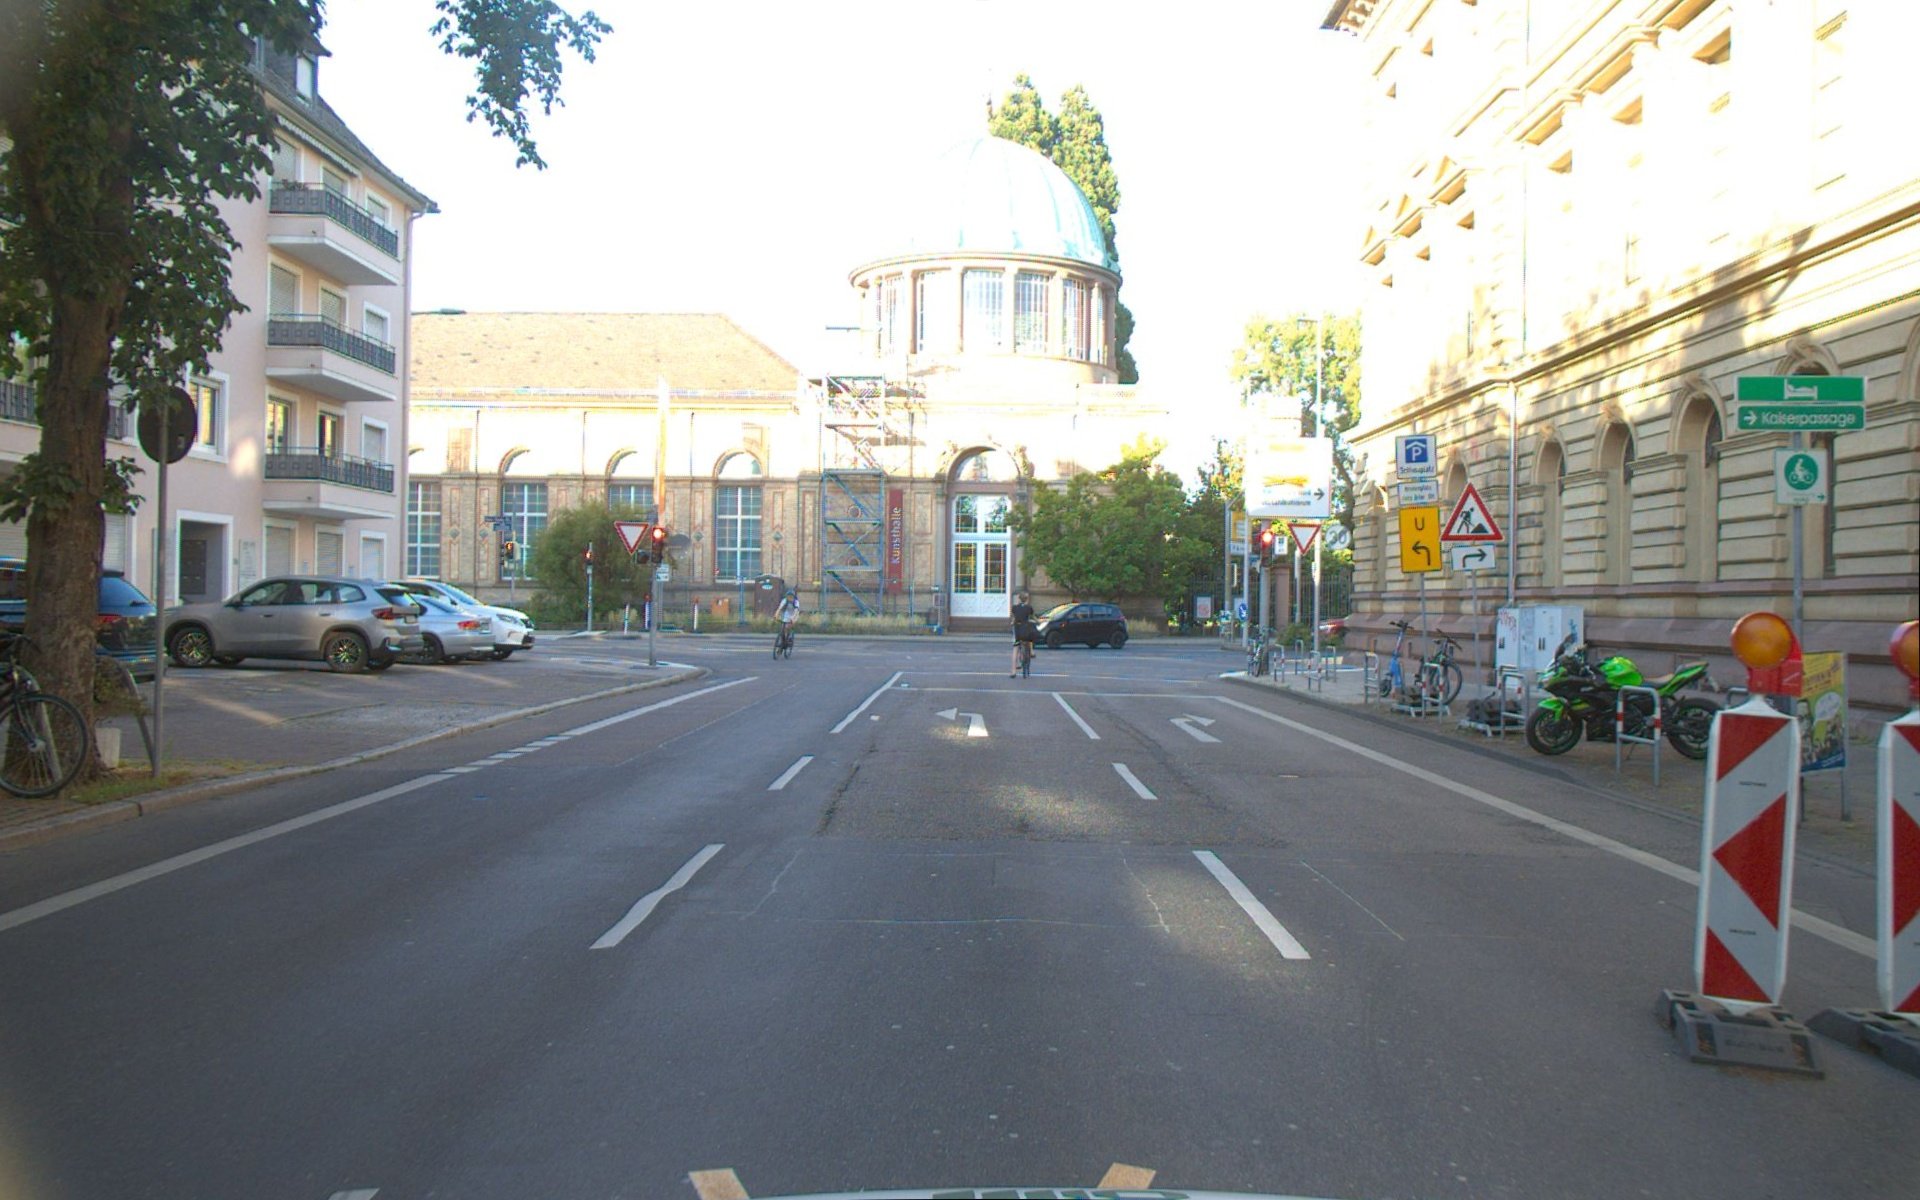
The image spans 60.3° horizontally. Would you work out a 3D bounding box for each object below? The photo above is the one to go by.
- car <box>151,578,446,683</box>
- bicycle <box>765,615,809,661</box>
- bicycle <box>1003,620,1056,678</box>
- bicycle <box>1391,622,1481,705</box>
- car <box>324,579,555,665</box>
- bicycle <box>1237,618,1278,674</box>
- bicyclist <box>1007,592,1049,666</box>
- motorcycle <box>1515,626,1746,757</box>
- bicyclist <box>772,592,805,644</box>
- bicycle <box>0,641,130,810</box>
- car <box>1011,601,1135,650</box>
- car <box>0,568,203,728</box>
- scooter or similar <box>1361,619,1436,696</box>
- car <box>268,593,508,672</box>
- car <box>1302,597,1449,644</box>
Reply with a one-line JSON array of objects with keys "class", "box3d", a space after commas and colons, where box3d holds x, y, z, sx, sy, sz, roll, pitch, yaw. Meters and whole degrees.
[{"class": "car", "box3d": [-11.500, 0.516, 28.979, 4.328, 1.633, 1.916, 2, 0, -1]}, {"class": "bicycle", "box3d": [-4.574, 1.013, 43.841, 0.611, 1.176, 2.054, 0, -2, 9]}, {"class": "bicycle", "box3d": [1.471, 1.017, 34.744, 0.696, 1.176, 2.070, 0, -2, 15]}, {"class": "bicycle", "box3d": [7.277, 0.950, 25.384, 0.810, 1.154, 1.944, -3, 0, 1]}, {"class": "car", "box3d": [-11.258, 0.469, 35.968, 4.350, 1.669, 1.942, 2, 0, -1]}, {"class": "bicycle", "box3d": [6.513, 1.005, 36.268, 0.570, 1.209, 1.920, 0, -2, 1]}, {"class": "bicyclist", "box3d": [1.433, 0.603, 34.625, 0.701, 1.529, 0.851, 0, -2, 15]}, {"class": "motorcycle", "box3d": [6.767, 0.916, 16.737, 2.058, 1.236, 0.709, -2, 0, 30]}, {"class": "bicyclist", "box3d": [-4.553, 0.484, 43.941, 0.611, 1.388, 0.930, 0, -2, 10]}, {"class": "bicycle", "box3d": [-6.822, 0.849, 11.423, 1.830, 1.123, 0.610, 1, 0, -6]}, {"class": "car", "box3d": [3.744, 0.815, 54.725, 3.791, 1.497, 1.651, -1, 1, -24]}, {"class": "car", "box3d": [-11.349, 0.478, 19.049, 4.328, 1.694, 1.863, 2, 0, -1]}, {"class": "scooter or similar", "box3d": [7.145, 0.934, 26.960, 1.106, 1.216, 0.584, 1, 0, 8]}, {"class": "car", "box3d": [-11.481, 0.633, 33.388, 4.180, 1.404, 1.735, 2, 0, -1]}, {"class": "car", "box3d": [14.577, 0.710, 58.197, 4.732, 1.572, 1.837, -1, 0, 0]}]
